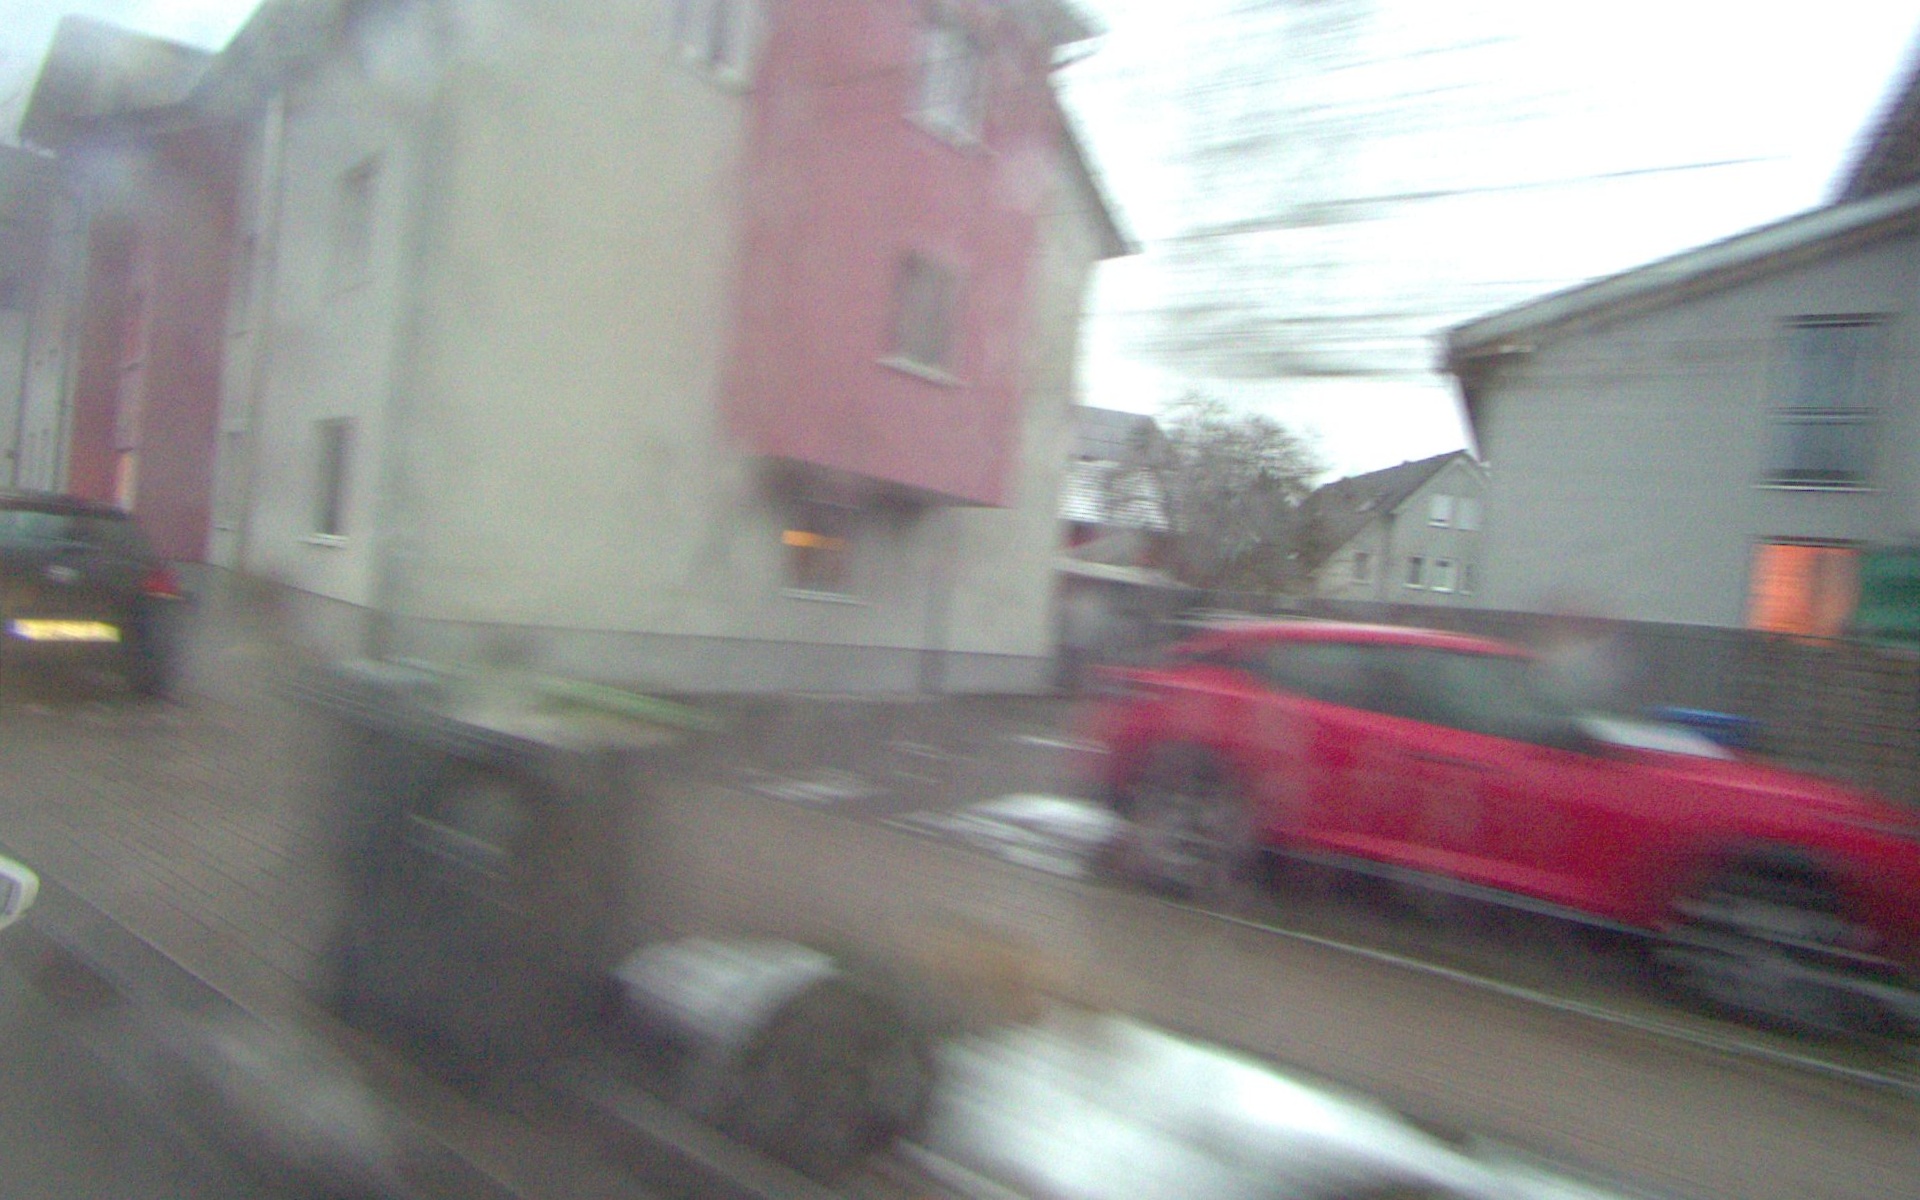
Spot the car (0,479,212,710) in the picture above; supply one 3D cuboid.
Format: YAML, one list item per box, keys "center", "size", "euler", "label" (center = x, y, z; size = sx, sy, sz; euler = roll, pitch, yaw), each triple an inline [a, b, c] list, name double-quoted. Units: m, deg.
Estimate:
- center: [-7.831, -0.223, 7.841]
  size: [4.121, 1.470, 1.704]
  euler: [7, 2, 31]
  label: "car"

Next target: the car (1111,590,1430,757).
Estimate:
- center: [3.830, 0.912, 12.207]
  size: [3.739, 1.613, 1.686]
  euler: [6, 2, -37]
  label: "car"

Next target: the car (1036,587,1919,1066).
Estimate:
- center: [2.787, 0.968, 5.637]
  size: [4.227, 1.572, 1.811]
  euler: [7, 1, 24]
  label: "car"
